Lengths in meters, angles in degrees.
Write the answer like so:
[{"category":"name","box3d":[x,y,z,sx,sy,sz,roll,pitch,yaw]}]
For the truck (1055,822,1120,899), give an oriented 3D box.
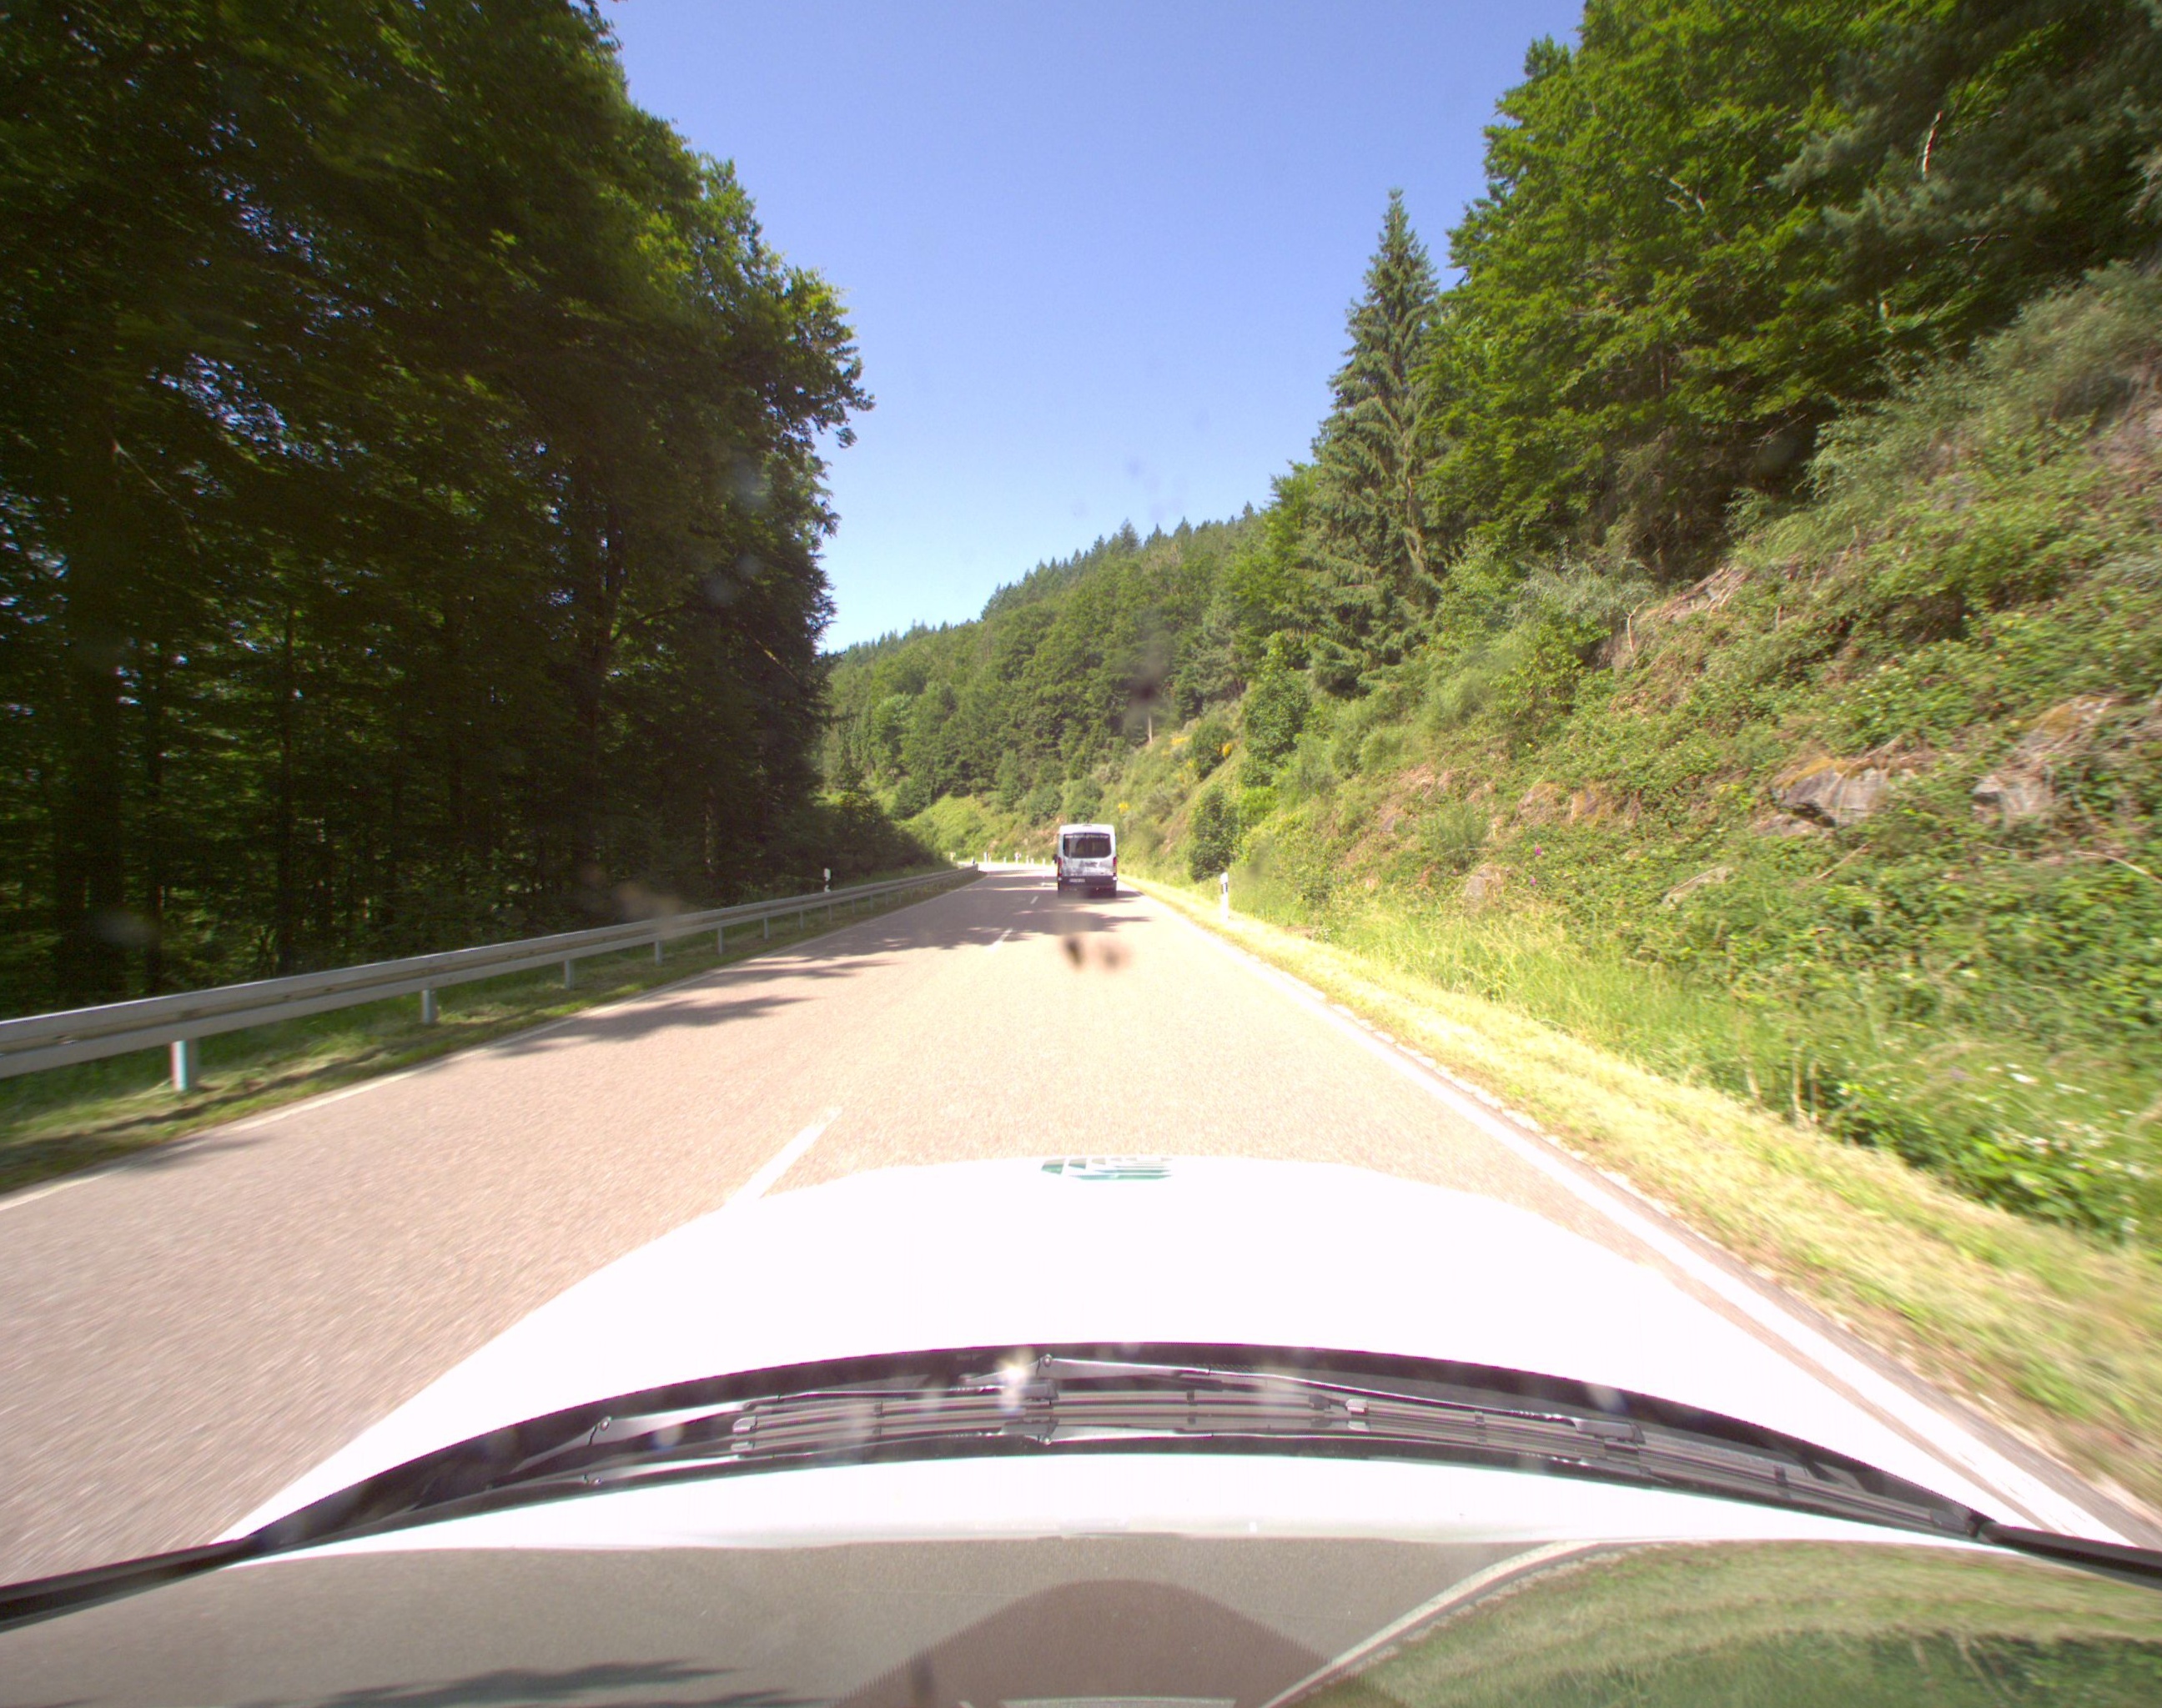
[{"category":"truck","box3d":[0.167,0.208,28.874,2.077,2.459,4.873,-1,0,-1]}]
